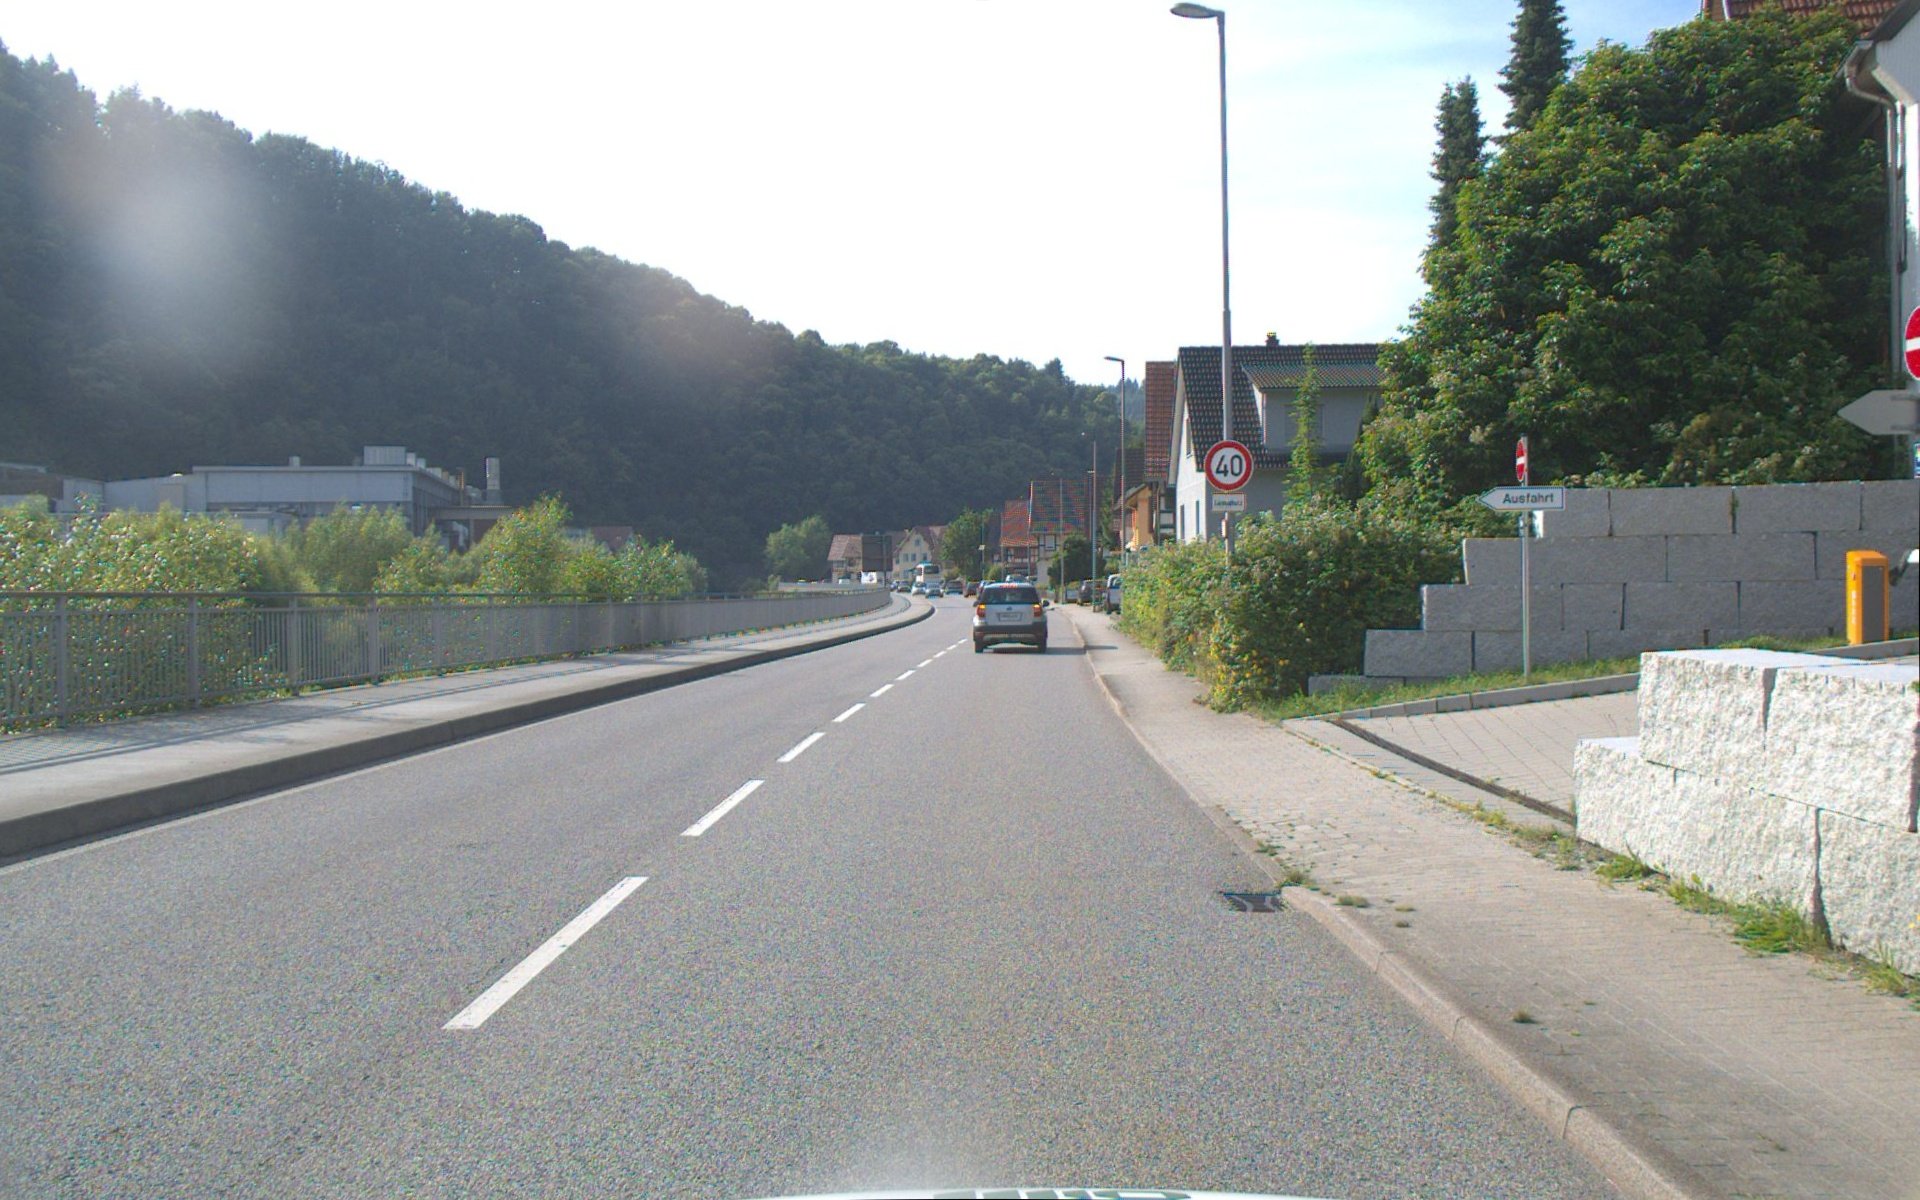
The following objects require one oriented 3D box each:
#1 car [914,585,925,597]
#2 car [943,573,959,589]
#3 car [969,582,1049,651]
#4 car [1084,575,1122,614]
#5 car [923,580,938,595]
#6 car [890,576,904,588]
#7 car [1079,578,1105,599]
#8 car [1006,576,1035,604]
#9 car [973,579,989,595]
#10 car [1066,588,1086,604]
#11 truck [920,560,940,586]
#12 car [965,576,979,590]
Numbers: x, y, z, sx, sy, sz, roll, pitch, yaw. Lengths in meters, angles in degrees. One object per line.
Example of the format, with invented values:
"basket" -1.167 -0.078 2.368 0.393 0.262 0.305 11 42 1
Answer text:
"car" -4.789 -1.060 194.865 1.337 1.300 3.082 -1 0 -1
"car" -1.053 -2.222 189.631 1.639 1.783 3.450 -1 2 3
"car" 1.262 0.373 40.758 1.822 1.571 4.375 -1 0 3
"car" 6.370 -0.232 73.525 1.575 1.674 3.653 -1 0 7
"car" -2.932 -1.243 164.083 1.404 1.407 3.134 -1 2 -3
"car" -8.709 -2.568 229.669 1.714 1.571 3.997 -1 2 -5
"car" 7.833 -0.670 98.174 1.512 1.238 3.279 -1 0 5
"car" 3.437 -0.550 93.835 1.588 1.568 3.279 -1 0 1
"car" 1.773 -1.126 140.187 1.336 1.300 3.083 -1 0 0
"car" 7.418 -0.267 106.006 1.269 0.991 2.923 -1 0 4
"truck" -4.019 -3.623 221.393 2.673 3.433 6.478 -1 2 -1
"car" 1.189 -1.624 160.500 1.336 1.300 3.083 -1 0 0
